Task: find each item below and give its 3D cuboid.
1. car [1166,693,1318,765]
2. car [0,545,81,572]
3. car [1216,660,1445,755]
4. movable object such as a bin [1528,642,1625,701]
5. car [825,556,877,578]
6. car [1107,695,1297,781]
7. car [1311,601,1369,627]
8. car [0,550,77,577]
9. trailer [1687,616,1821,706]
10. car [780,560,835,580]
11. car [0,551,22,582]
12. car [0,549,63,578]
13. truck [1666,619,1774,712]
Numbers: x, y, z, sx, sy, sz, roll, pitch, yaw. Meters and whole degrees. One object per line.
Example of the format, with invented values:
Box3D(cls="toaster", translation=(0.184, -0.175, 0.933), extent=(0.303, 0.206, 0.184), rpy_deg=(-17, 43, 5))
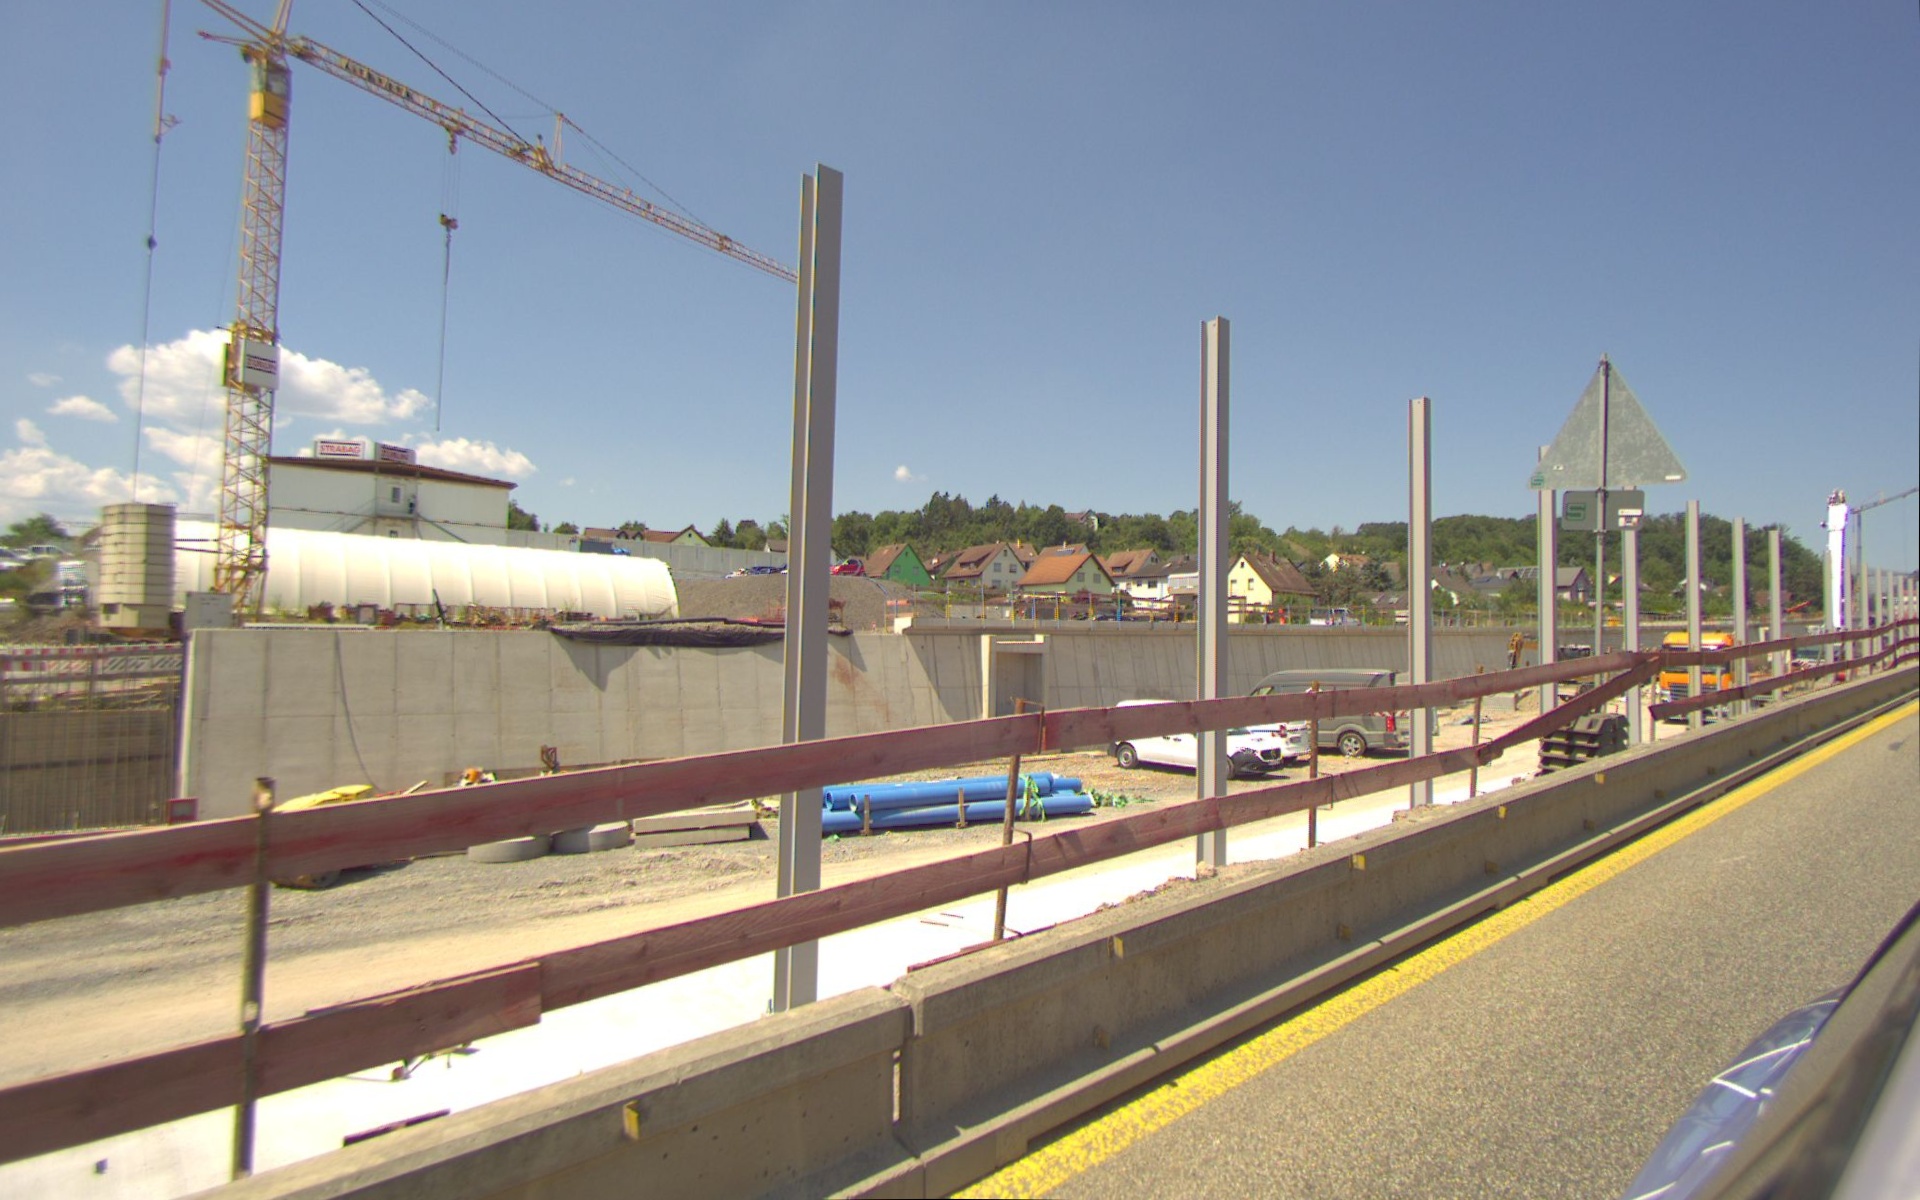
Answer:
Box3D(cls="car", translation=(8.053, 3.629, 29.081), extent=(3.859, 1.708, 1.666), rpy_deg=(-3, -2, 45))
Box3D(cls="car", translation=(-72.662, -3.232, 79.768), extent=(4.894, 1.984, 1.999), rpy_deg=(-1, 0, -37))
Box3D(cls="car", translation=(11.304, 3.252, 31.234), extent=(6.266, 2.615, 2.027), rpy_deg=(-4, -4, 36))
Box3D(cls="movable object such as a bin", translation=(33.888, 3.862, 55.635), extent=(3.924, 2.820, 3.270), rpy_deg=(-1, 0, -35))
Box3D(cls="car", translation=(-7.896, -2.396, 73.618), extent=(3.544, 1.505, 1.544), rpy_deg=(-1, 0, -41))
Box3D(cls="car", translation=(6.260, 3.535, 26.683), extent=(1.689, 1.792, 4.796), rpy_deg=(1, -3, -40))
Box3D(cls="car", translation=(24.719, 0.884, 65.791), extent=(4.528, 1.623, 1.656), rpy_deg=(-1, 0, -42))
Box3D(cls="car", translation=(-70.505, -2.747, 77.001), extent=(4.894, 1.984, 1.999), rpy_deg=(-1, 0, -37))
Box3D(cls="trailer", translation=(36.556, 2.560, 46.330), extent=(12.670, 3.394, 2.444), rpy_deg=(-1, 0, -41))
Box3D(cls="car", translation=(-12.302, -2.390, 81.712), extent=(4.141, 1.505, 1.727), rpy_deg=(-1, 0, -41))
Box3D(cls="car", translation=(-63.919, -2.150, 65.243), extent=(4.894, 1.984, 1.999), rpy_deg=(-1, 0, -37))
Box3D(cls="car", translation=(-67.026, -2.591, 71.810), extent=(4.894, 1.984, 1.999), rpy_deg=(-1, 0, -37))
Box3D(cls="truck", translation=(31.552, 2.591, 41.963), extent=(5.341, 3.448, 2.502), rpy_deg=(-1, 0, -41))
